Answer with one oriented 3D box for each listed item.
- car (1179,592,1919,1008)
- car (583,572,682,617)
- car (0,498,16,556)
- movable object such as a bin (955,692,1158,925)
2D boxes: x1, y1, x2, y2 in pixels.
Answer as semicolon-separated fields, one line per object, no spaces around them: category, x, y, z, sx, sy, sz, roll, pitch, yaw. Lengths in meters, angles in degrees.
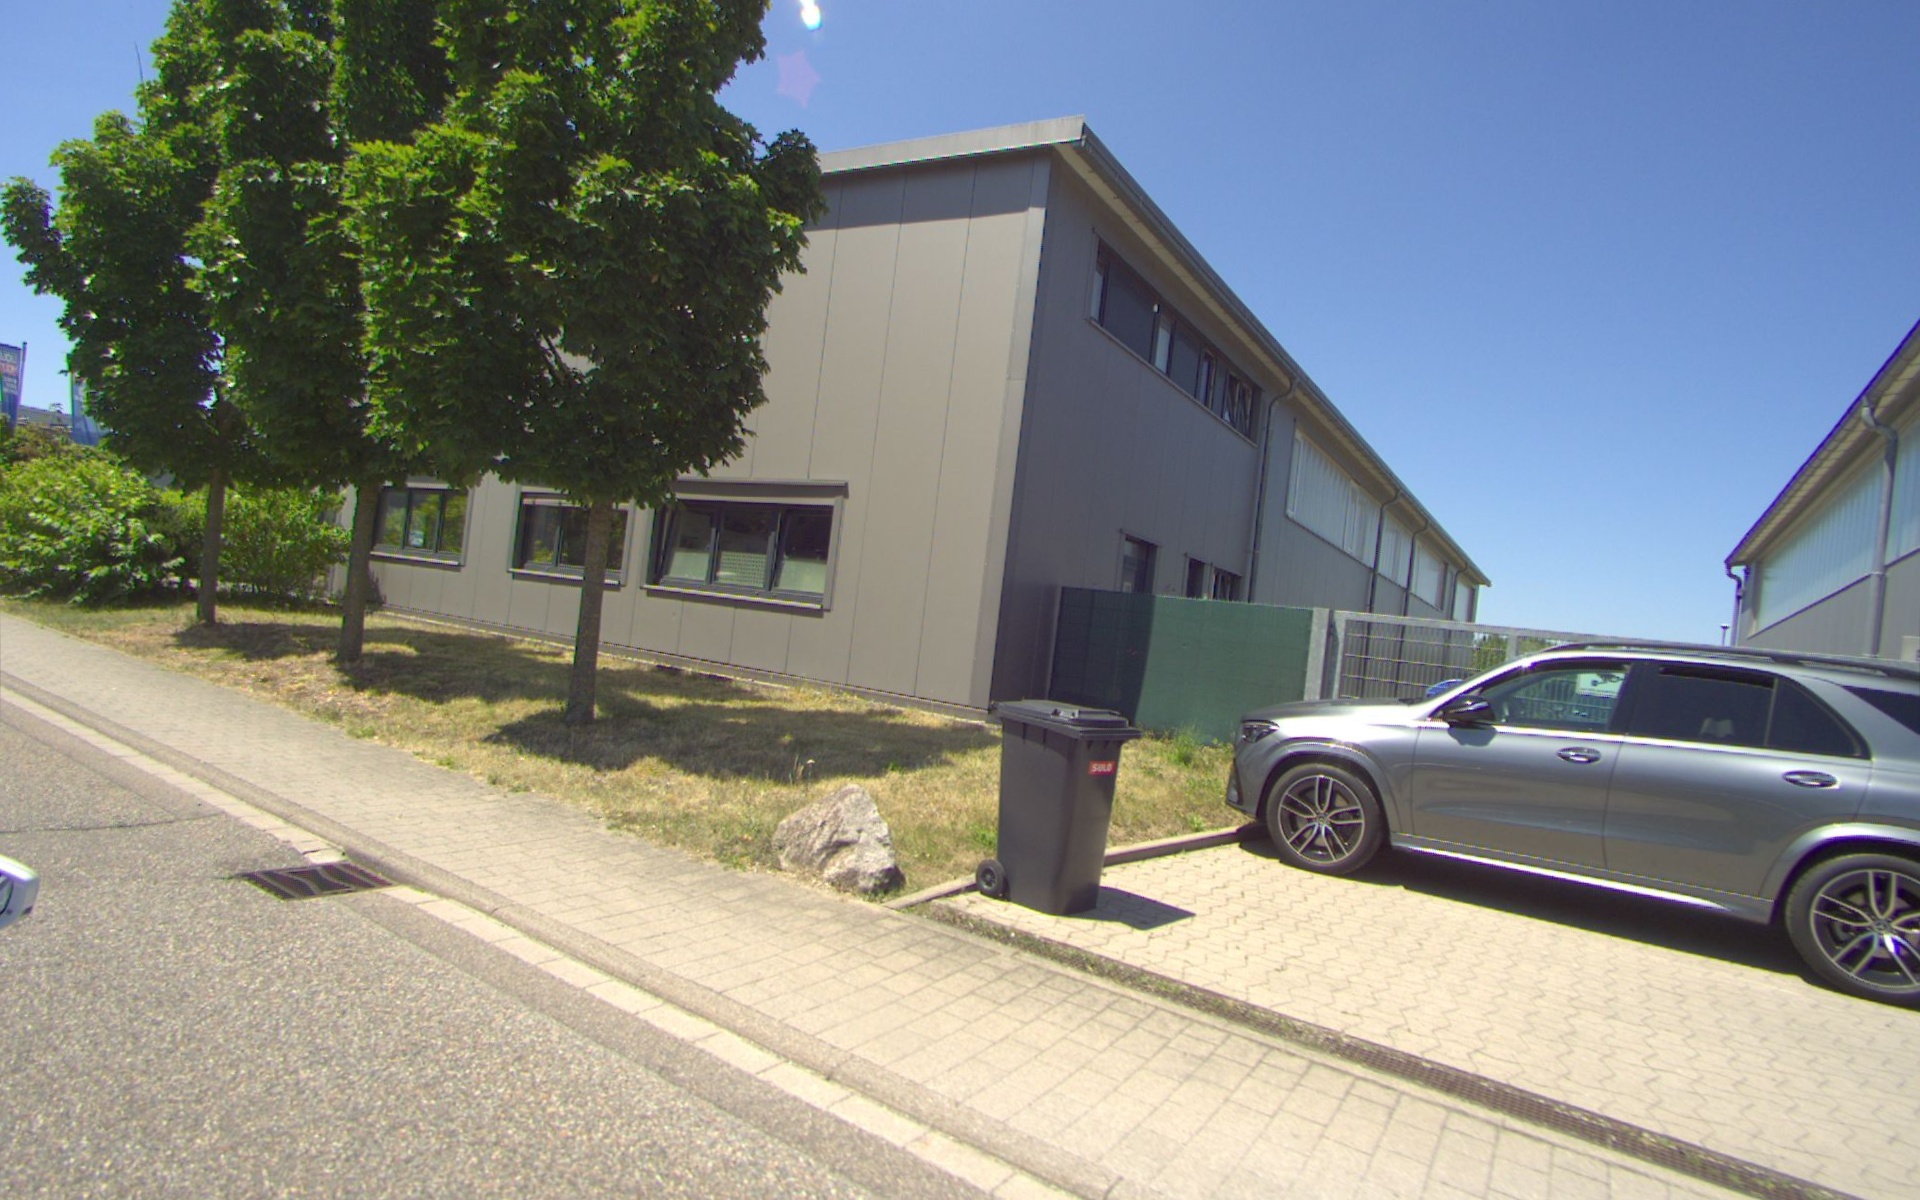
car;4.289;1.119;6.953;4.839;1.833;2.152;6;0;36
car;-13.999;-0.200;43.224;1.692;1.433;3.916;6;-3;26
car;-28.965;-2.303;28.652;4.517;1.555;1.996;6;-2;34
movable object such as a bin;0.518;1.088;5.492;0.614;1.059;0.799;6;0;-44
